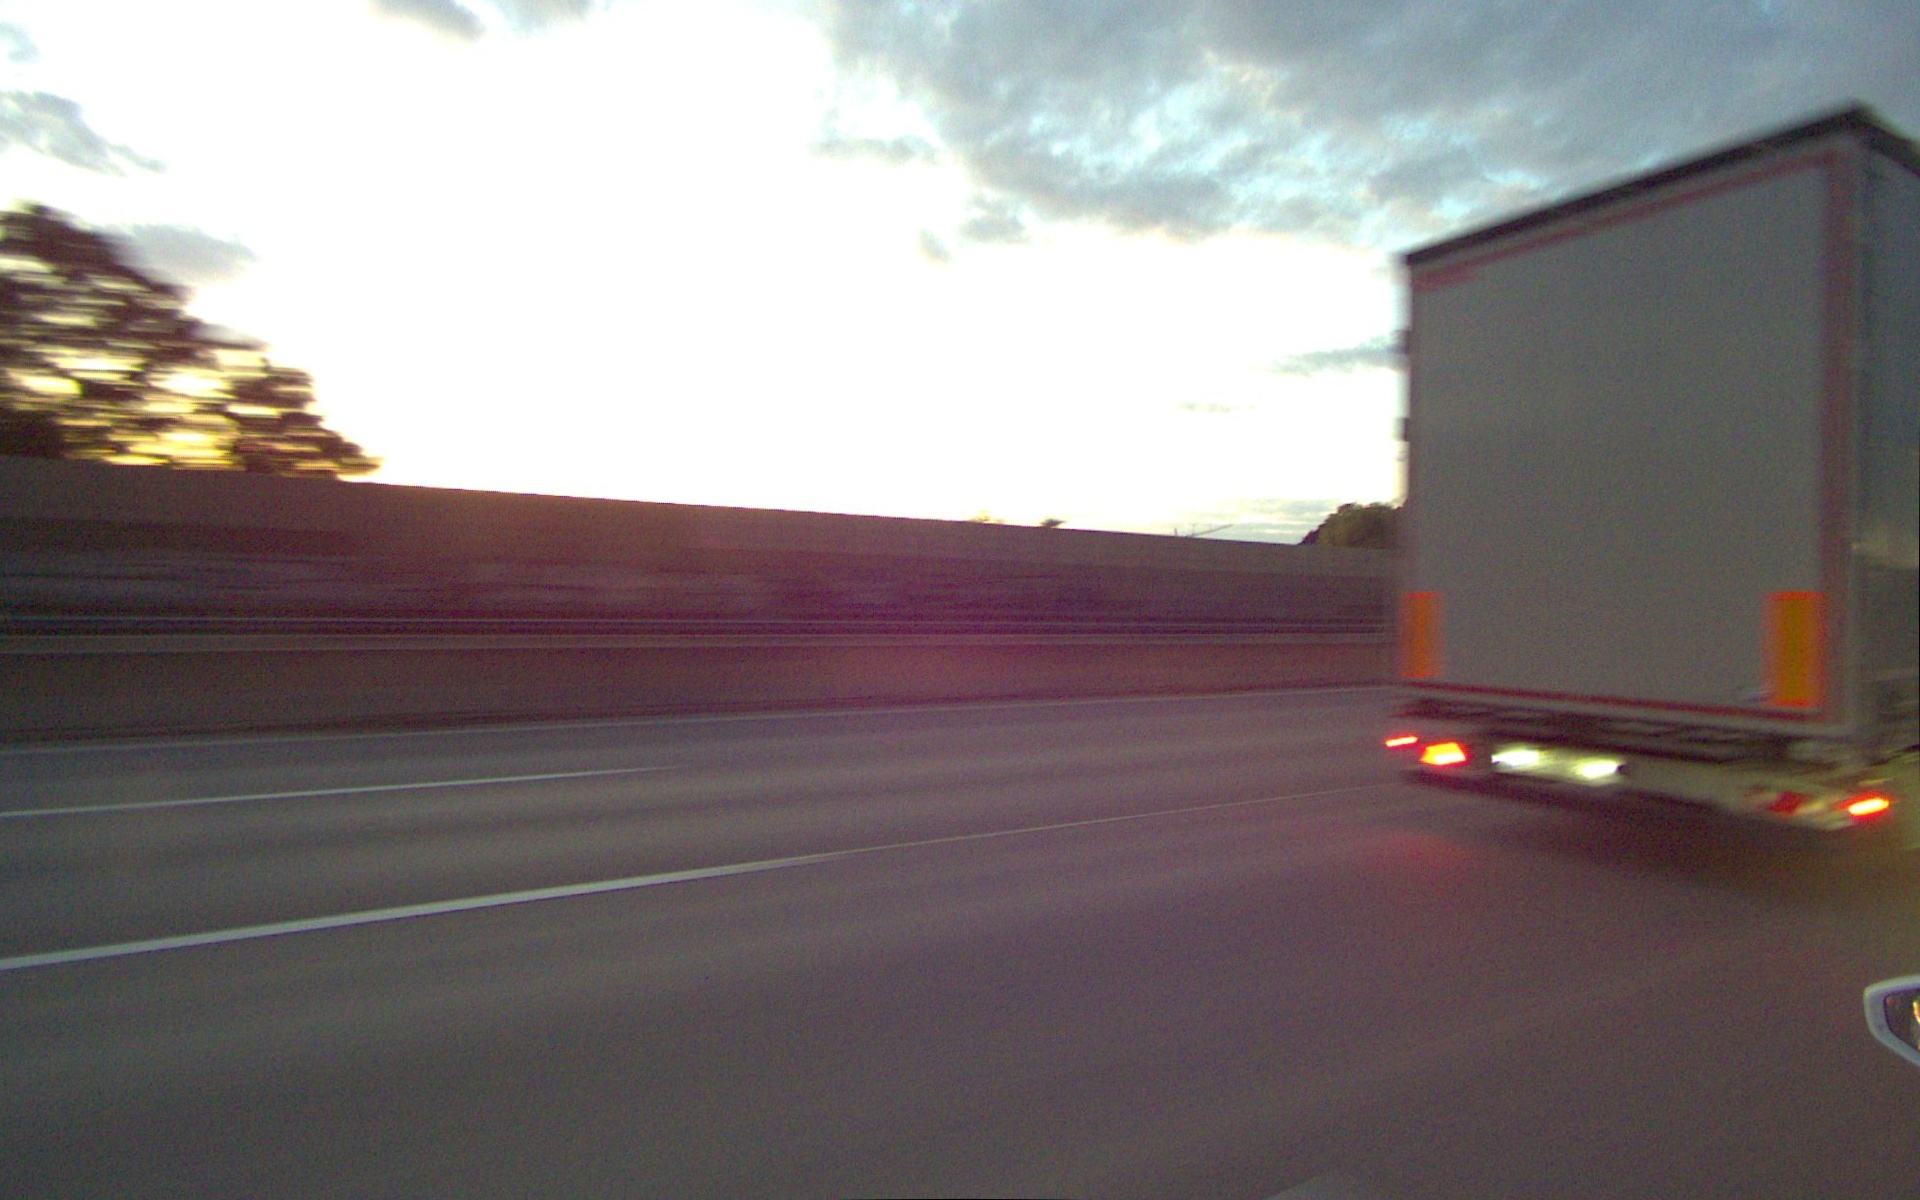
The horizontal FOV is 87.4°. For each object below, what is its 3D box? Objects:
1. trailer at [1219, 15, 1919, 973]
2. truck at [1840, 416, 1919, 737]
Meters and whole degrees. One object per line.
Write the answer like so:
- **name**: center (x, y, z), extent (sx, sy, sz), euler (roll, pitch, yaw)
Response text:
- **trailer**: center (9.140, -0.356, 9.810), extent (14.893, 4.171, 3.532), euler (1, -1, -32)
- **truck**: center (15.467, -0.268, 13.762), extent (6.082, 4.145, 3.532), euler (1, -1, -32)
